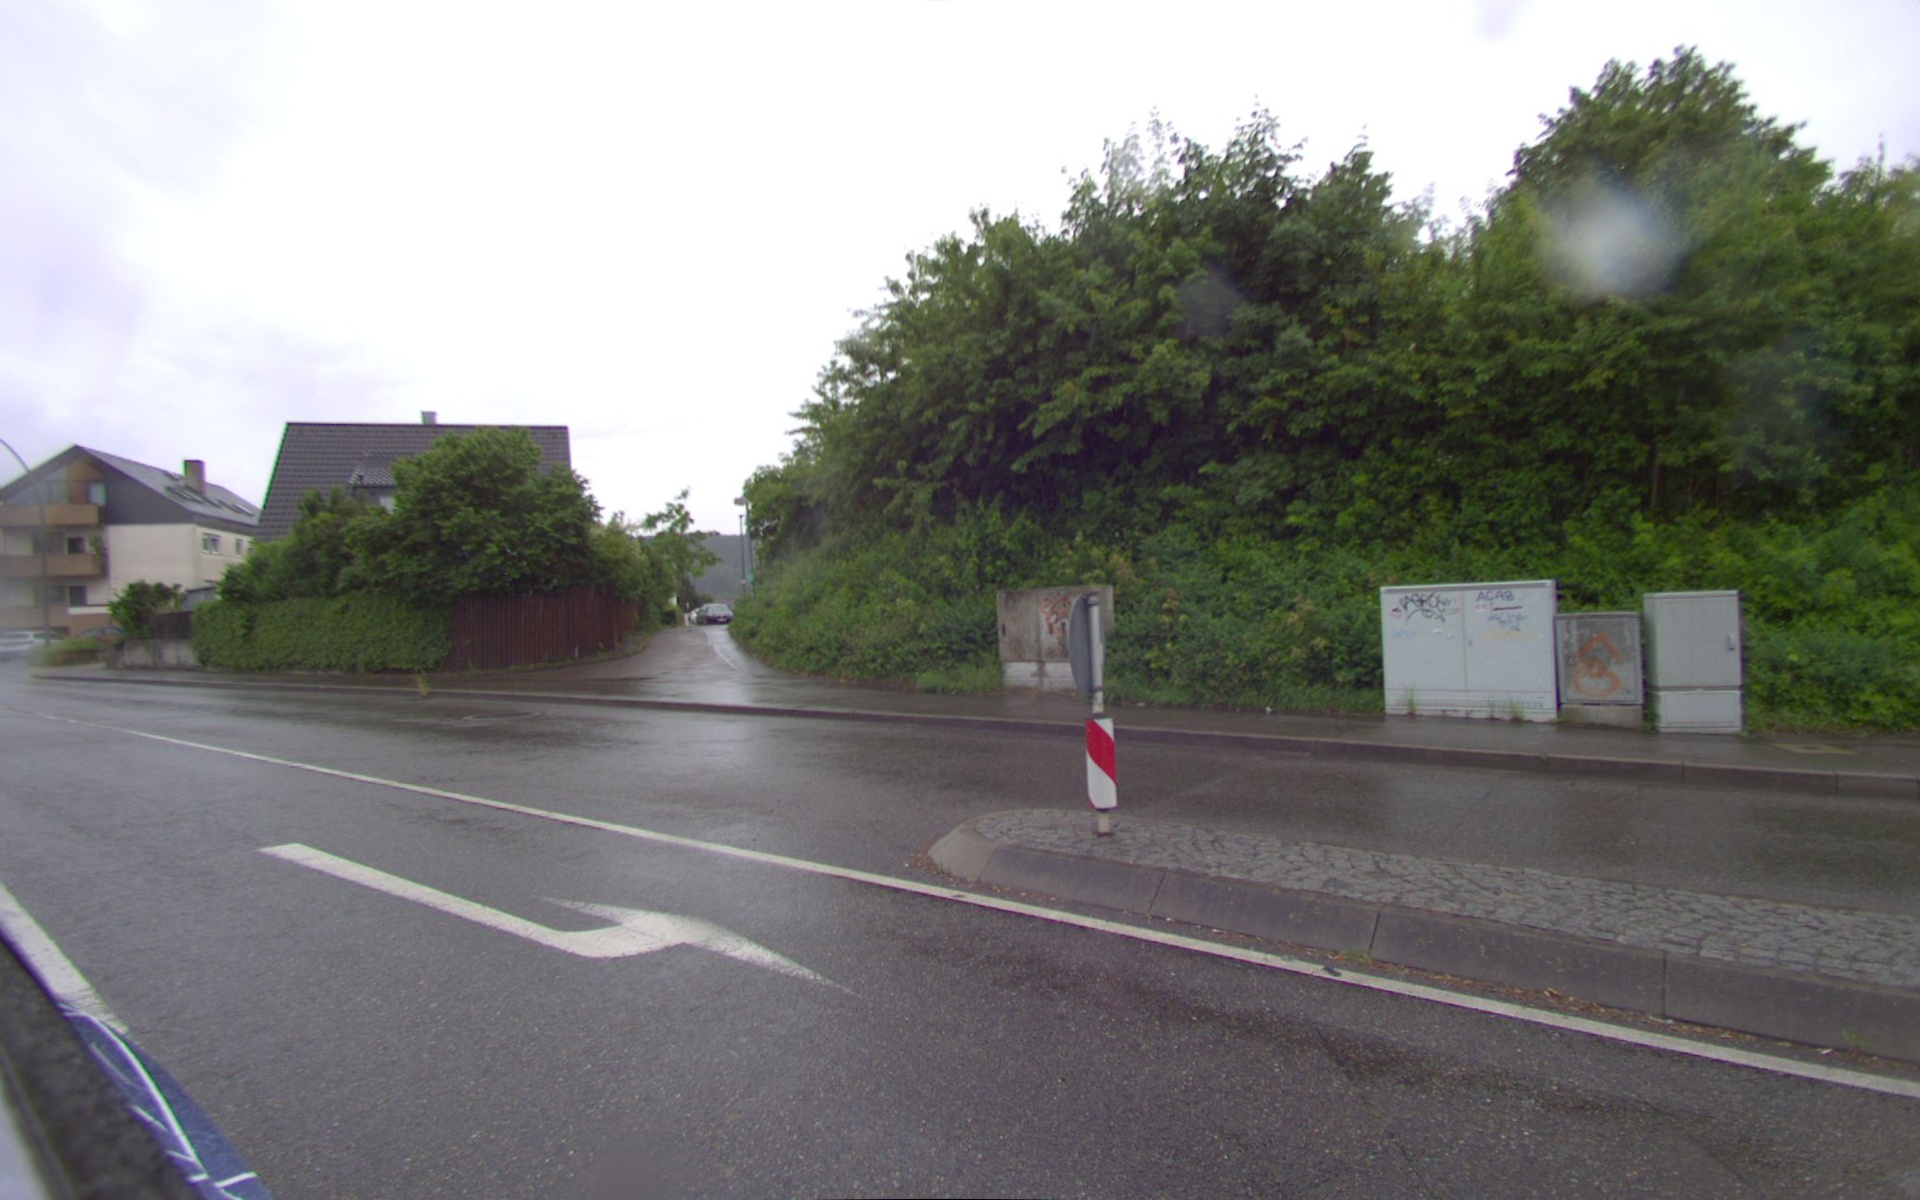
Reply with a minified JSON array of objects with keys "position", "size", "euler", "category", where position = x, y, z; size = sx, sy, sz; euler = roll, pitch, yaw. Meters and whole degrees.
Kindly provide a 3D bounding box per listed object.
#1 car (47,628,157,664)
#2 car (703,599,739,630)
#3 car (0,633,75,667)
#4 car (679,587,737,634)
[{"position":[-41.103,2.202,48.566],"size":[3.609,1.530,1.759],"euler":[-2,0,-15],"category":"car"},{"position":[-15.586,0.928,66.188],"size":[1.968,1.873,4.008],"euler":[-2,0,-9],"category":"car"},{"position":[-46.779,2.490,50.966],"size":[1.837,1.530,4.012],"euler":[-2,0,-18],"category":"car"},{"position":[-9.173,0.374,37.066],"size":[1.683,1.600,3.668],"euler":[-1,0,-8],"category":"car"}]
